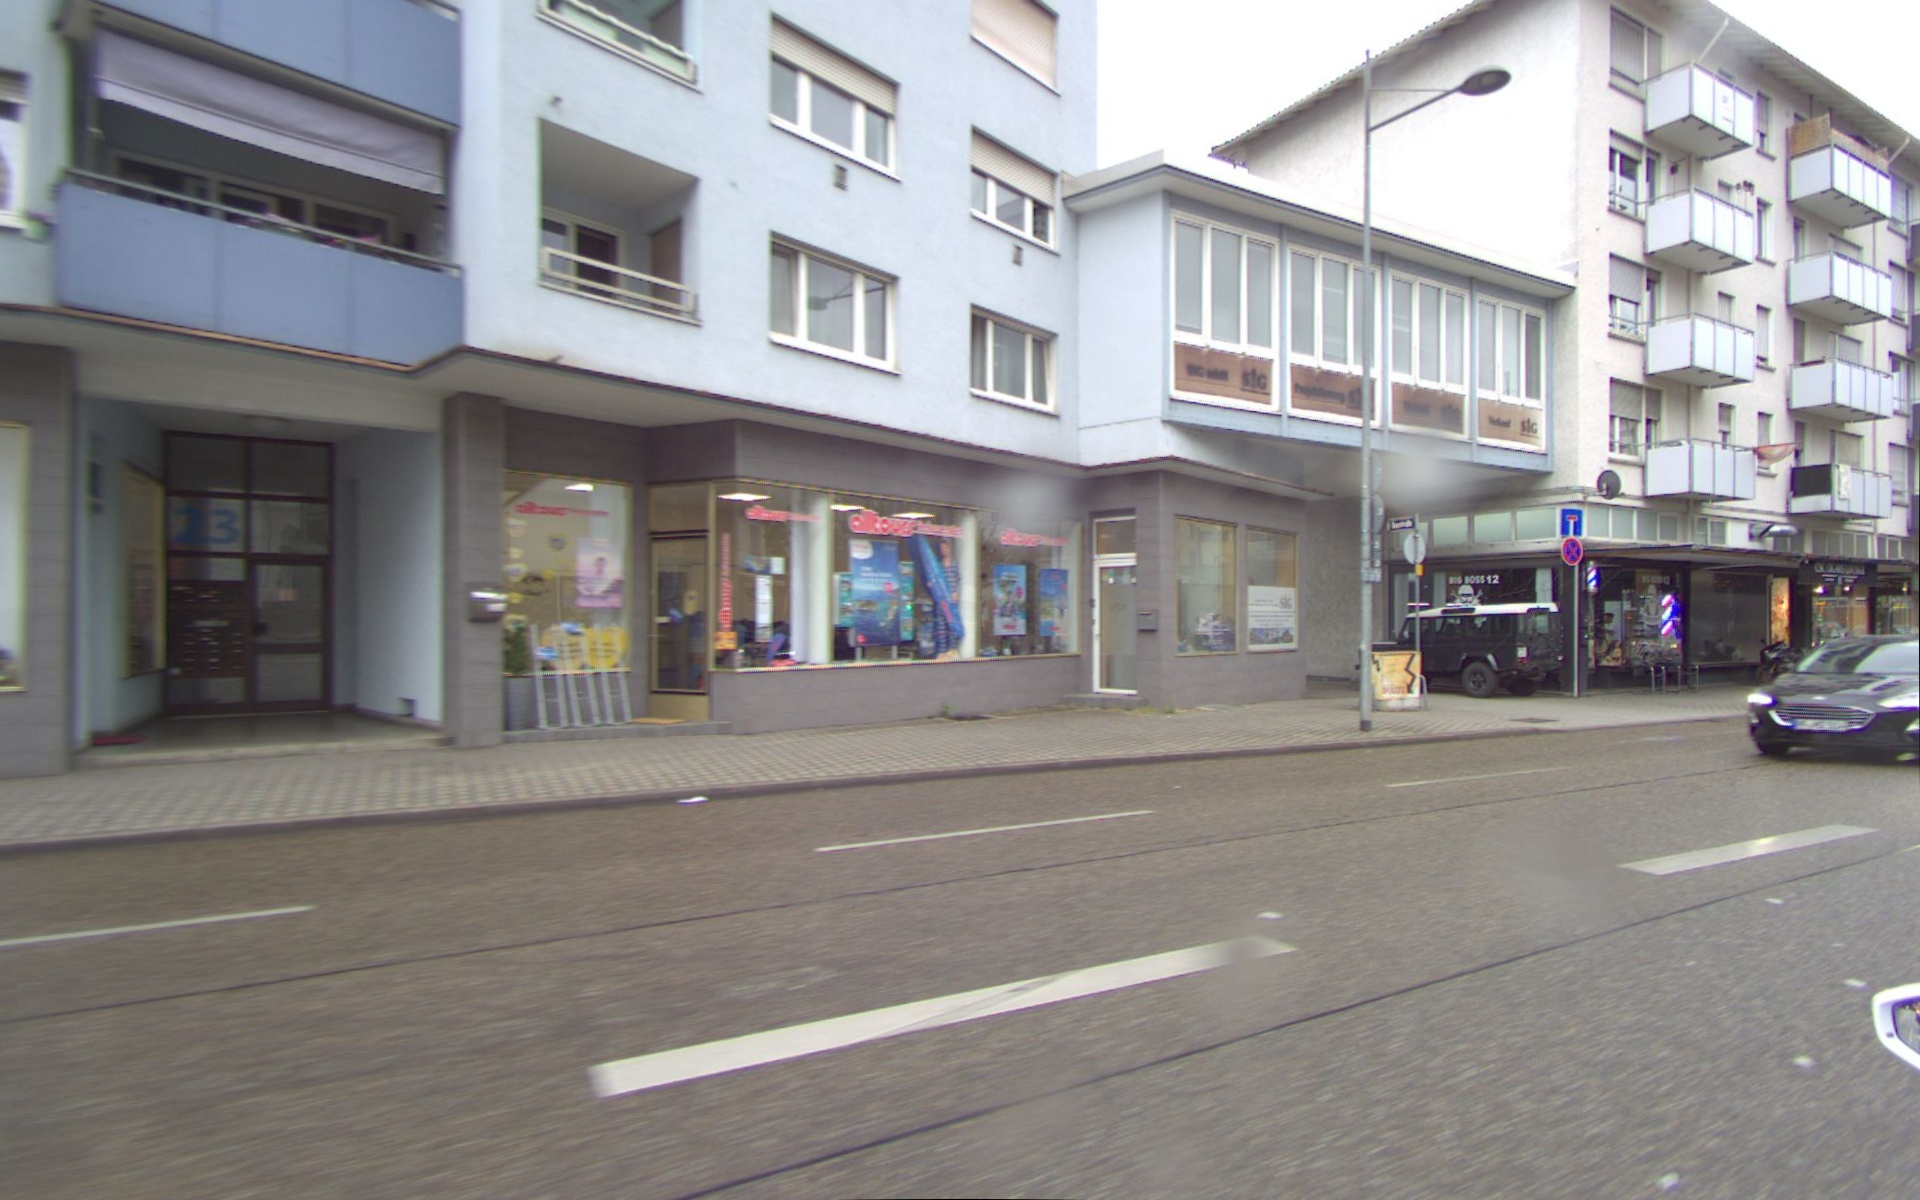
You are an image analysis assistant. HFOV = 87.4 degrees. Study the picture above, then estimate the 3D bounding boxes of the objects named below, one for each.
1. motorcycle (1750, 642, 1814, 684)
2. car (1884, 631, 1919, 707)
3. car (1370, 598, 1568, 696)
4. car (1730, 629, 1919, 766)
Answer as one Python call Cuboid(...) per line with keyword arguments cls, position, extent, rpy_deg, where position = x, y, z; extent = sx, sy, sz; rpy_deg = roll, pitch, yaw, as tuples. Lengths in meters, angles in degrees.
Cuboid(cls="motorcycle", position=(21.335, 1.626, 26.055), extent=(2.110, 1.009, 0.523), rpy_deg=(1, 1, -29))
Cuboid(cls="car", position=(21.250, 1.378, 20.794), extent=(4.771, 1.487, 1.701), rpy_deg=(1, -4, -30))
Cuboid(cls="car", position=(11.643, 1.052, 23.260), extent=(1.559, 2.061, 3.950), rpy_deg=(1, -1, -26))
Cuboid(cls="car", position=(11.447, 1.103, 12.322), extent=(4.116, 1.441, 1.713), rpy_deg=(1, -4, -30))
